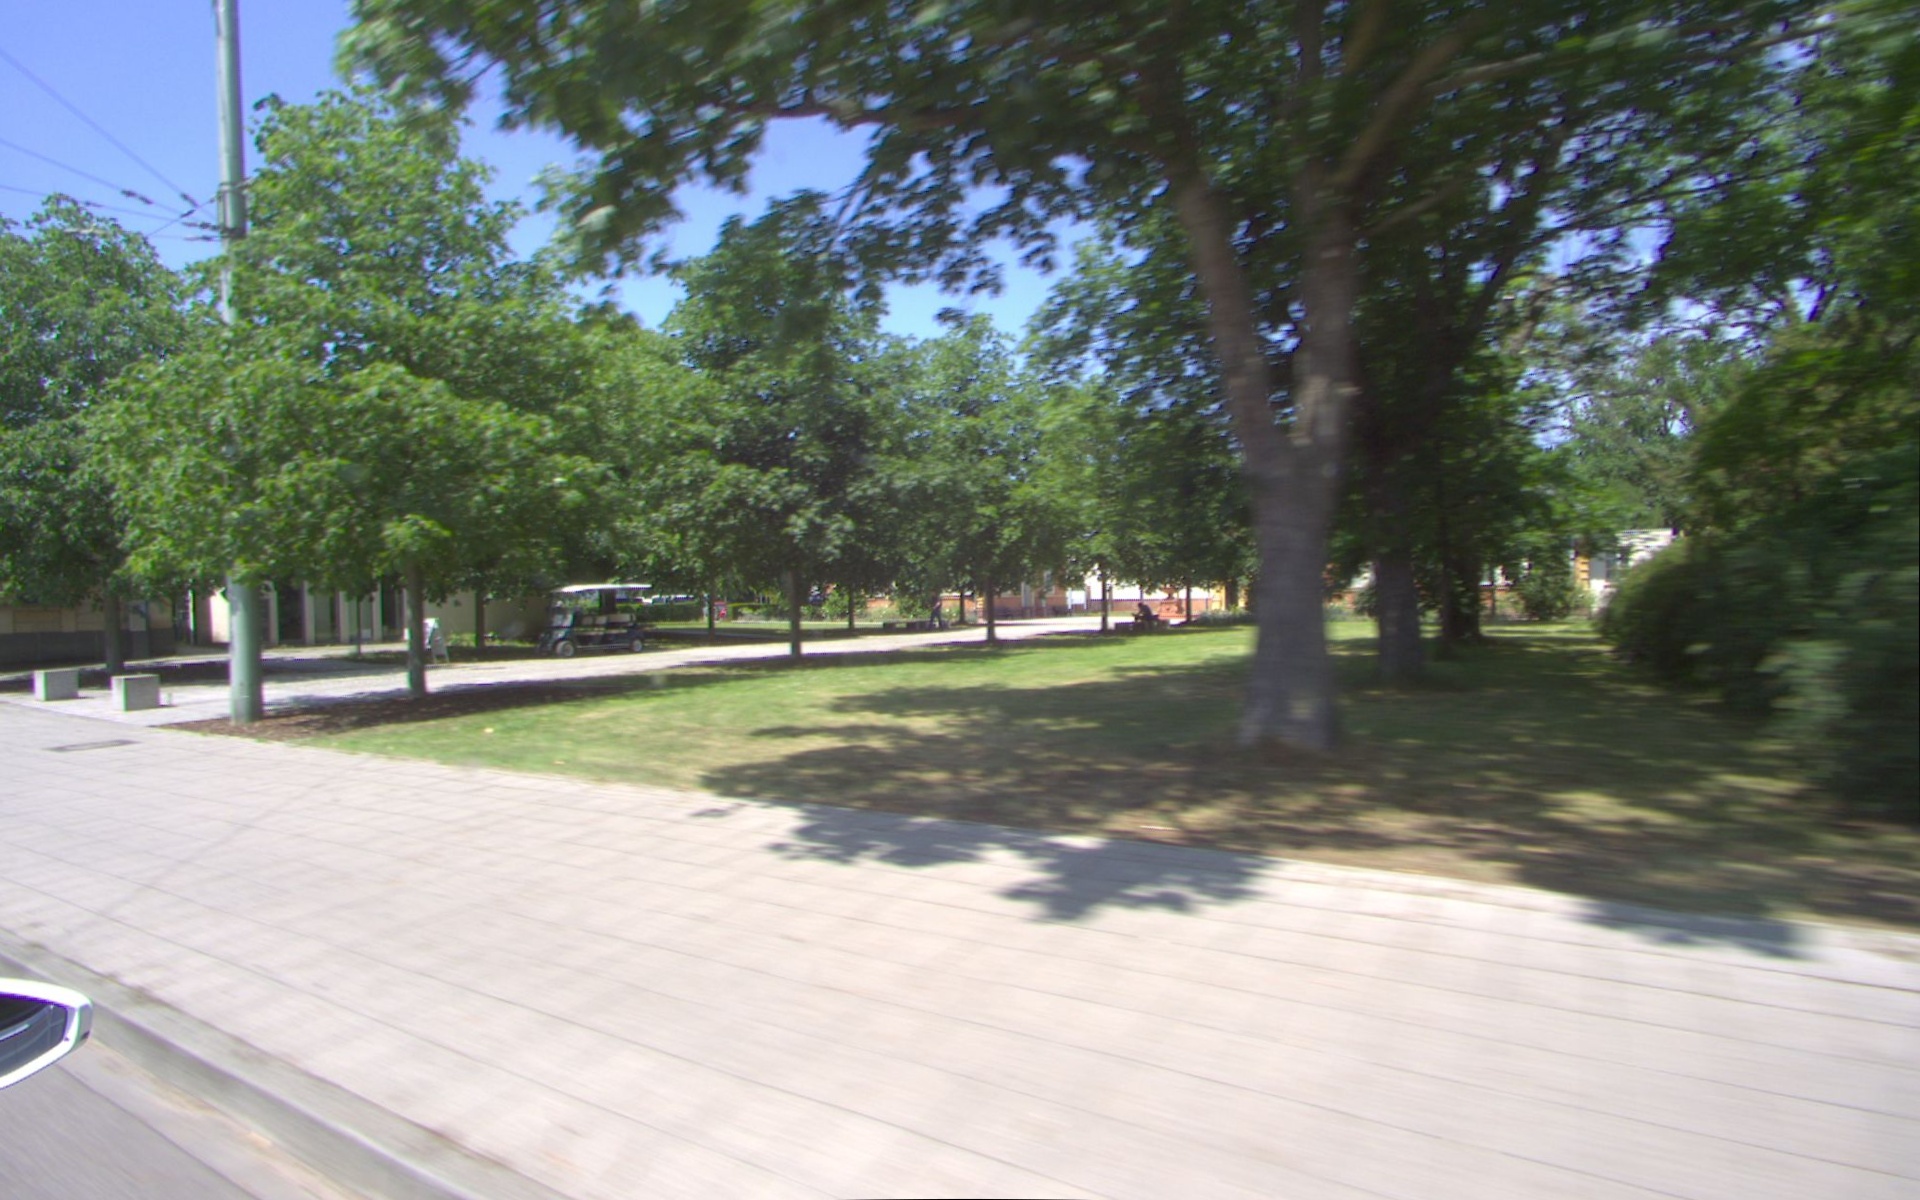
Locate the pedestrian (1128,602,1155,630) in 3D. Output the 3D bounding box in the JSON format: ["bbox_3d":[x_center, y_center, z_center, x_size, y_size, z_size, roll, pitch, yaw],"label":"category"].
[{"bbox_3d":[7.347,0.643,40.521,0.819,1.129,0.792,0,1,33],"label":"pedestrian"}]

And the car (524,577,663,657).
[{"bbox_3d":[-9.960,0.438,27.415,1.444,2.040,3.322,-2,0,33],"label":"car"}]

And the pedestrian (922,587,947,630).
[{"bbox_3d":[-1.065,0.359,42.252,0.758,1.817,0.770,0,1,31],"label":"pedestrian"}]
